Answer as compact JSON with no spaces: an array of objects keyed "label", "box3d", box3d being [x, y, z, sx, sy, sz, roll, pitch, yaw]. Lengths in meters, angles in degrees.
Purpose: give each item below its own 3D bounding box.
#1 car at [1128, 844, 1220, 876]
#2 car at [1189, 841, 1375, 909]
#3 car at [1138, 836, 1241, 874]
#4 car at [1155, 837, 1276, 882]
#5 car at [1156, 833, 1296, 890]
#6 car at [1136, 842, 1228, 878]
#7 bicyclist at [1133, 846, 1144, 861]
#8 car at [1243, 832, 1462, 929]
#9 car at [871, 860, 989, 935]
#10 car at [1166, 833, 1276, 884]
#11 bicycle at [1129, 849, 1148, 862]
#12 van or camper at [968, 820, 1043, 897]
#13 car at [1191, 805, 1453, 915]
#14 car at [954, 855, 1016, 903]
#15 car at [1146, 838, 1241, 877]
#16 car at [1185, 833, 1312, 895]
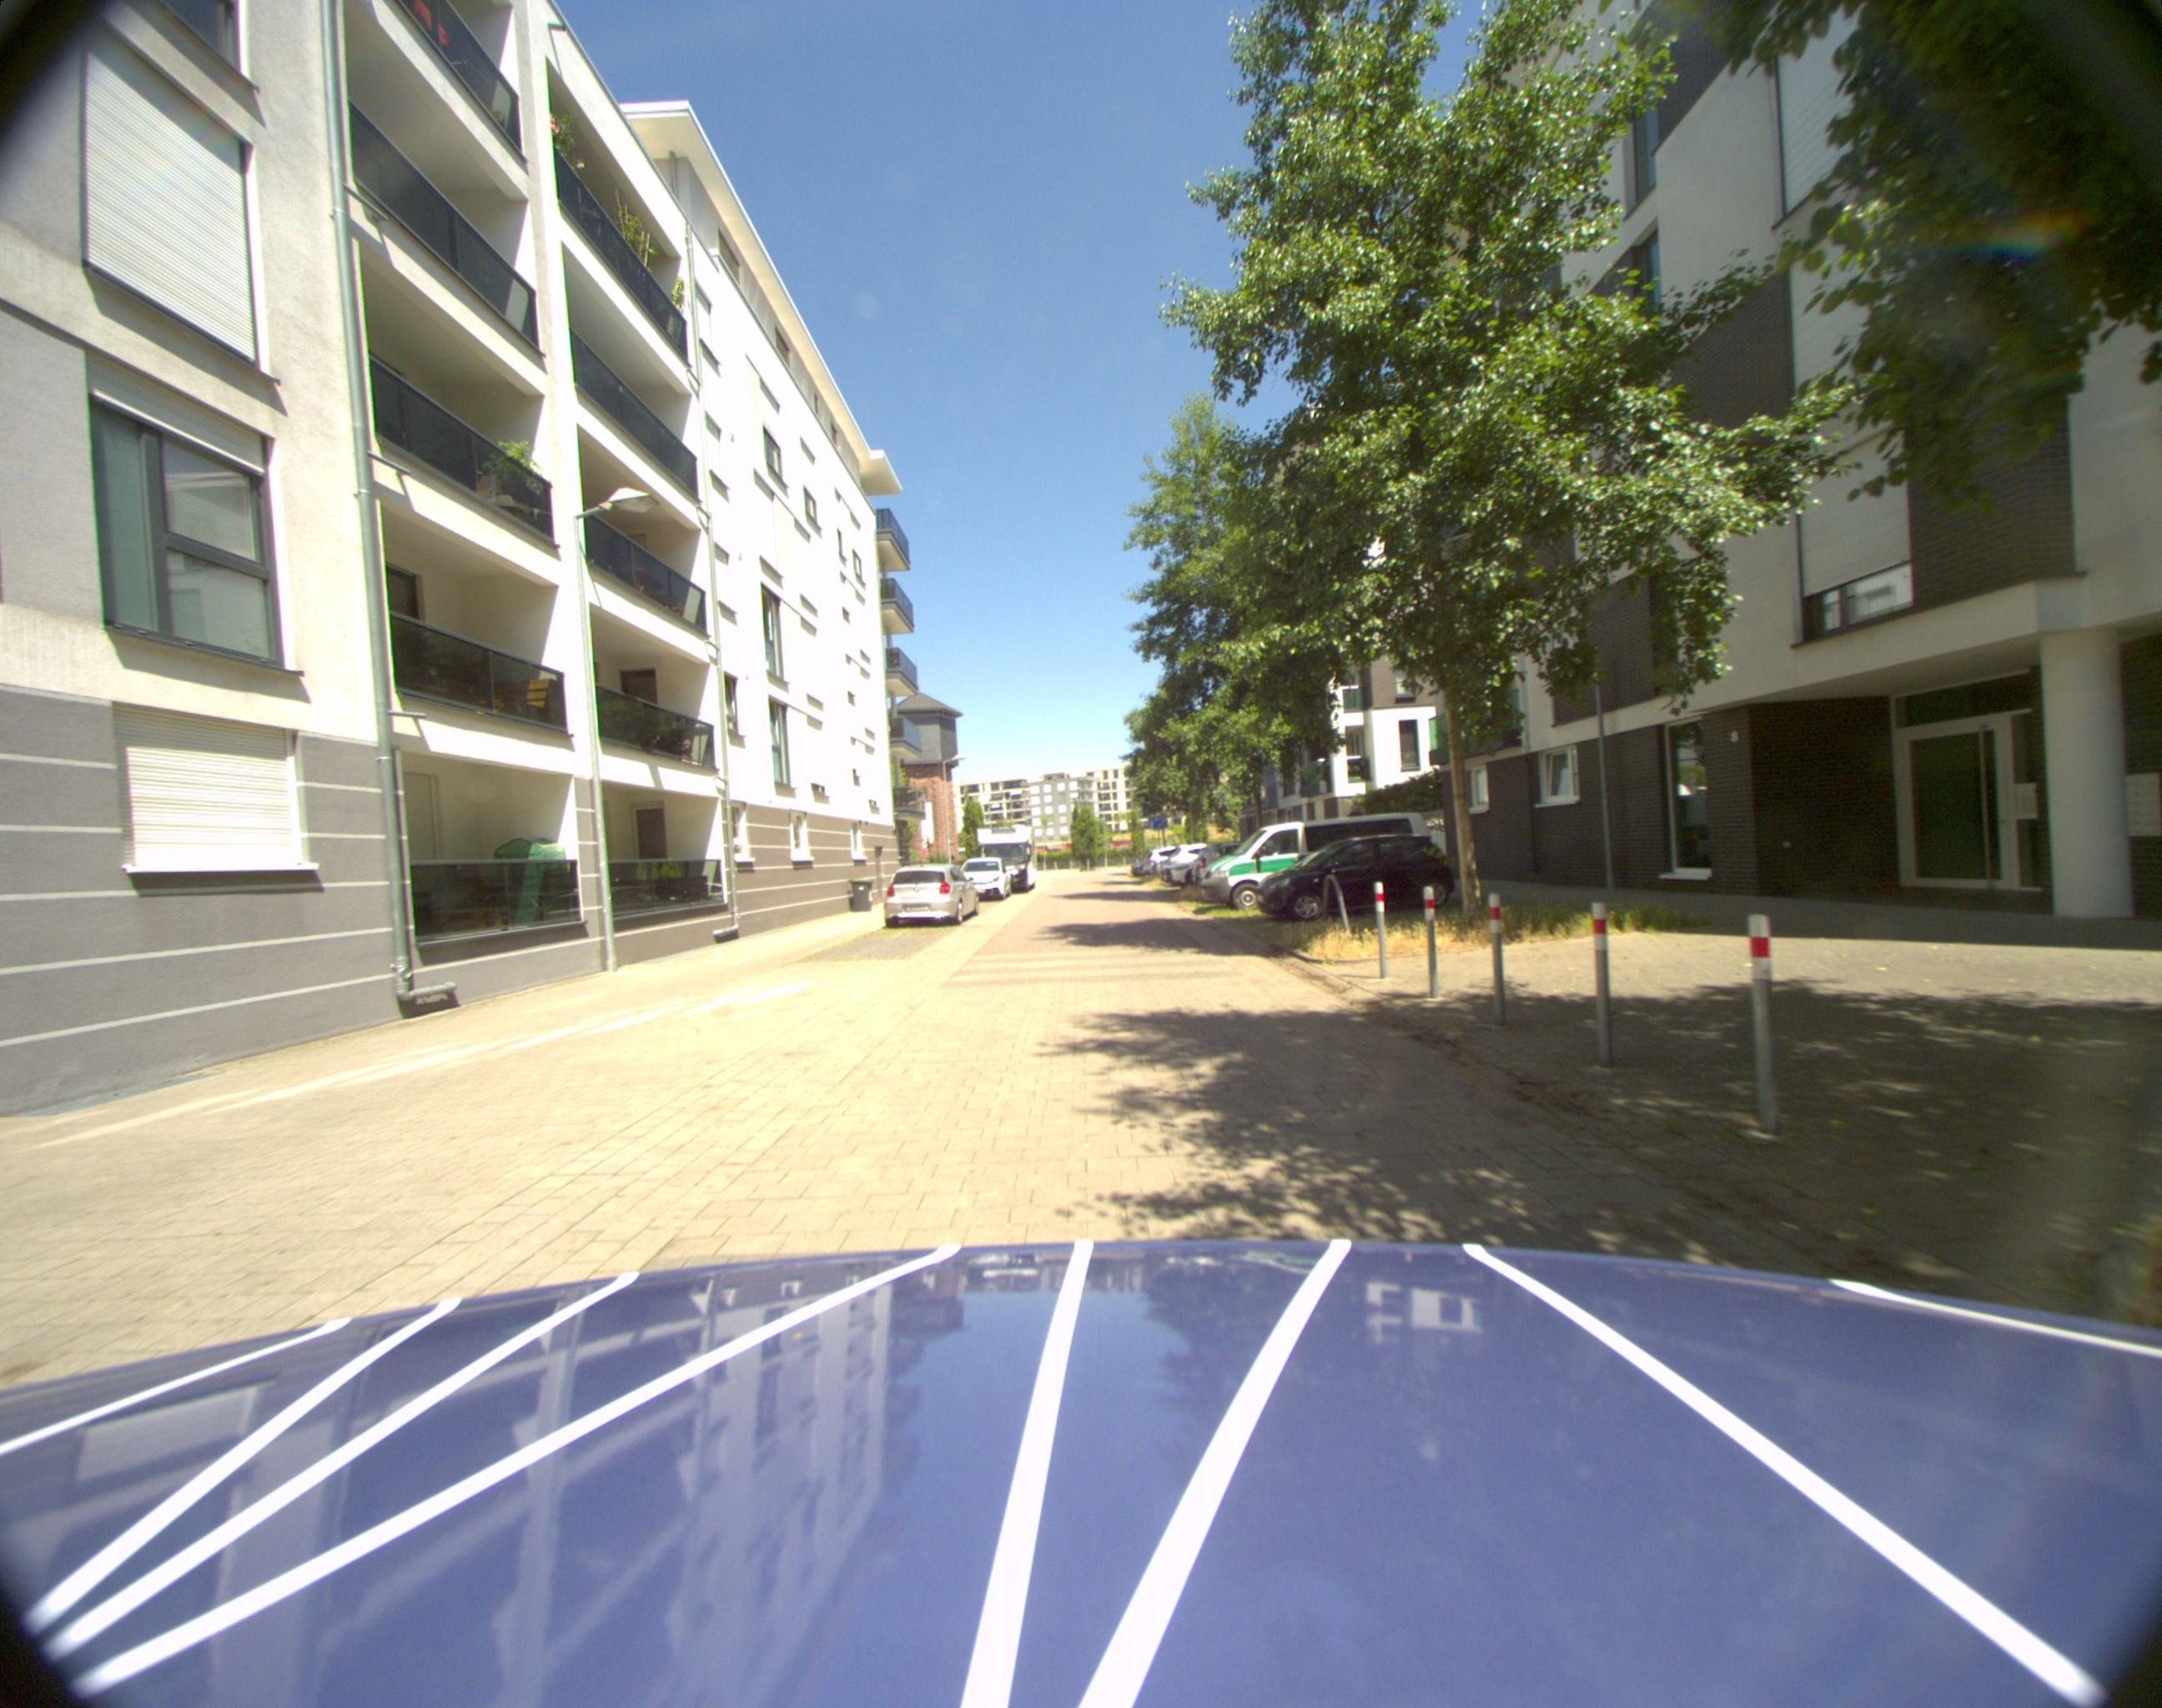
[{"label":"car","box3d":[5.538,0.315,45.644,5.112,1.476,1.927,-4,1,-2]},{"label":"car","box3d":[5.352,0.528,20.675,4.432,1.481,1.999,-4,1,-2]},{"label":"car","box3d":[5.744,0.060,40.579,5.042,1.623,2.042,-4,0,-2]},{"label":"car","box3d":[5.780,0.220,33.081,4.862,1.448,1.829,-6,1,1]},{"label":"car","box3d":[5.280,0.265,28.006,4.571,1.585,1.965,-6,1,-5]},{"label":"car","box3d":[5.669,0.305,43.001,4.831,1.441,1.827,-6,1,-2]},{"label":"bicyclist","box3d":[5.698,-0.075,75.937,0.734,1.426,0.659,-5,1,-42]},{"label":"car","box3d":[5.252,0.490,15.041,3.632,1.473,1.678,-5,1,0]},{"label":"car","box3d":[-3.569,0.975,18.810,1.850,1.408,4.425,-4,1,1]},{"label":"car","box3d":[5.568,0.182,30.635,3.990,1.620,1.949,-5,1,2]},{"label":"bicycle","box3d":[5.712,0.124,75.972,0.592,1.192,1.937,-5,1,-42]},{"label":"van or camper","box3d":[-3.203,0.115,34.095,2.445,2.889,7.824,-5,1,-1]},{"label":"car","box3d":[5.453,0.119,17.825,5.355,2.098,2.187,-4,1,2]},{"label":"car","box3d":[-3.430,0.837,27.821,1.812,1.496,4.259,-2,1,-2]},{"label":"car","box3d":[5.558,0.167,37.861,4.263,1.522,1.822,-6,0,-3]},{"label":"car","box3d":[5.522,0.319,25.367,3.689,1.666,1.852,-5,1,0]}]
